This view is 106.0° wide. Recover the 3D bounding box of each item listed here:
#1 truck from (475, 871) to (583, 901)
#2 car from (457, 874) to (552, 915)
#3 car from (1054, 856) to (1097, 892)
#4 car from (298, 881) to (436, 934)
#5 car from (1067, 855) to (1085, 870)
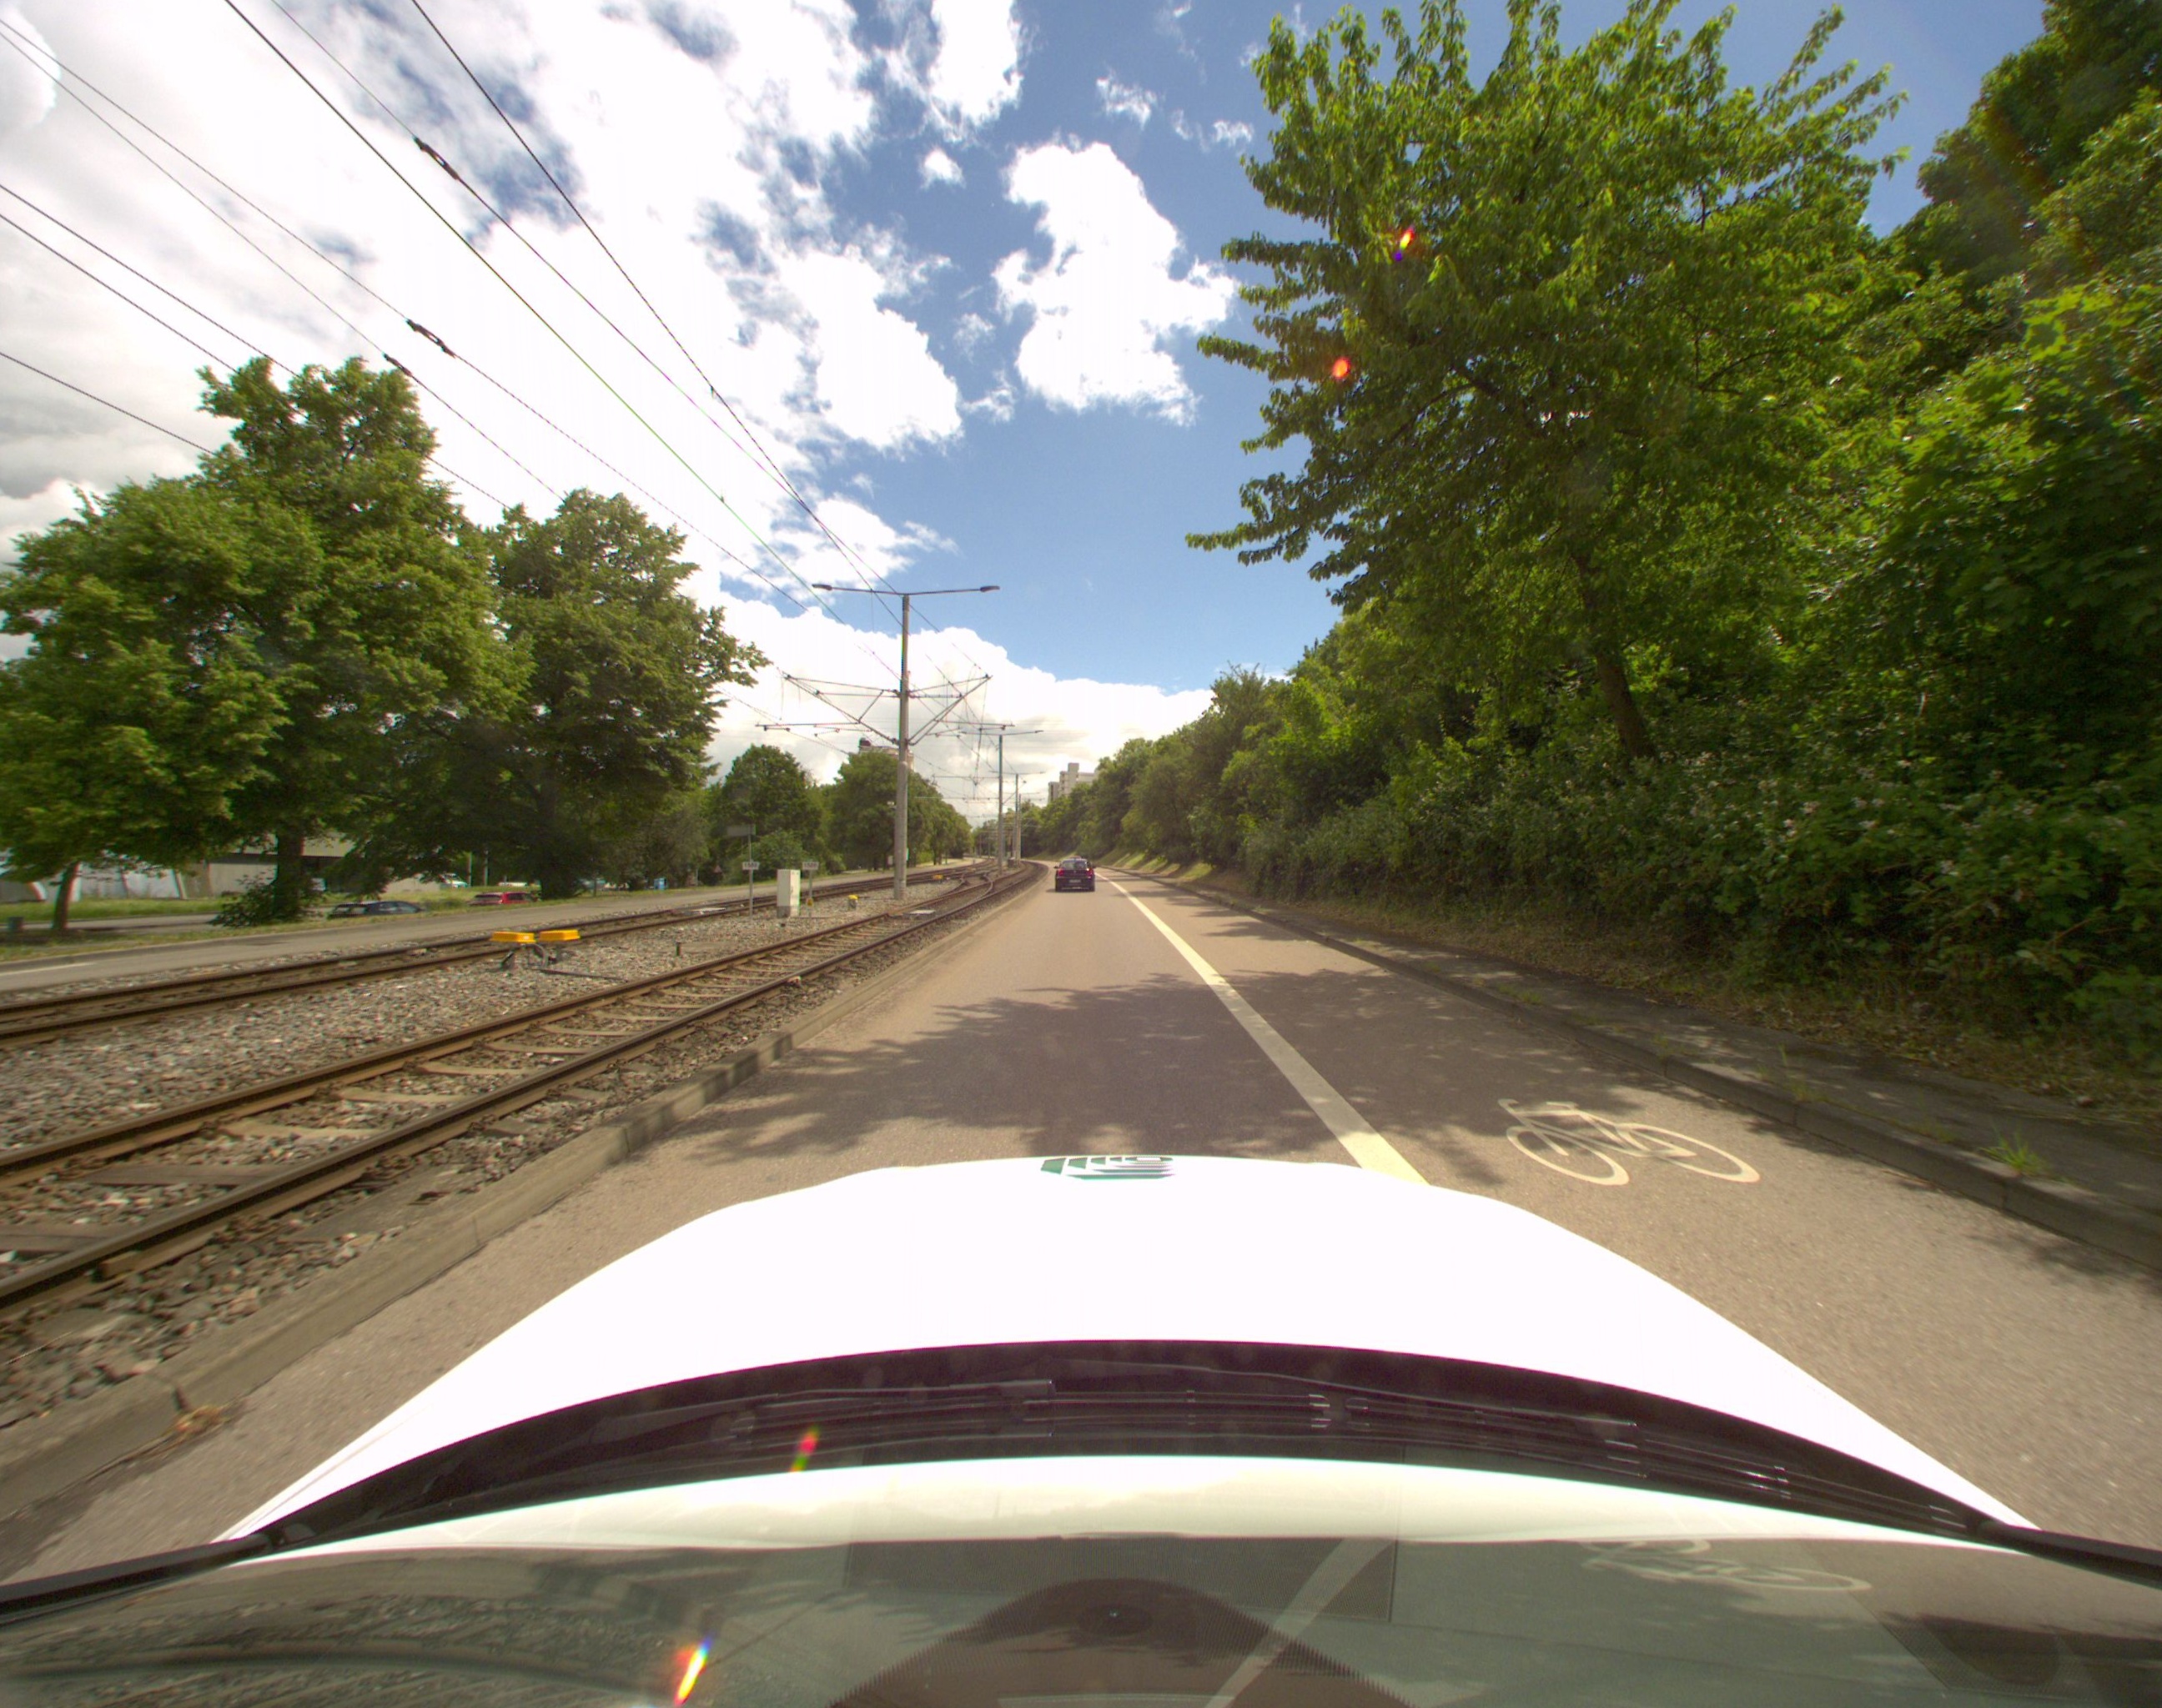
[{"bbox_3d":[-56.353,3.240,83.271,9.063,2.695,2.614,-2,0,-1],"label":"truck"},{"bbox_3d":[-27.786,1.908,39.422,1.811,1.772,3.998,-1,0,-1],"label":"car"},{"bbox_3d":[-0.180,0.854,36.212,1.702,1.460,3.961,2,-1,2],"label":"car"},{"bbox_3d":[-28.109,2.068,32.243,1.809,1.772,4.002,-1,0,2],"label":"car"},{"bbox_3d":[-0.510,0.796,79.443,1.619,1.443,3.420,1,0,-1],"label":"car"}]
